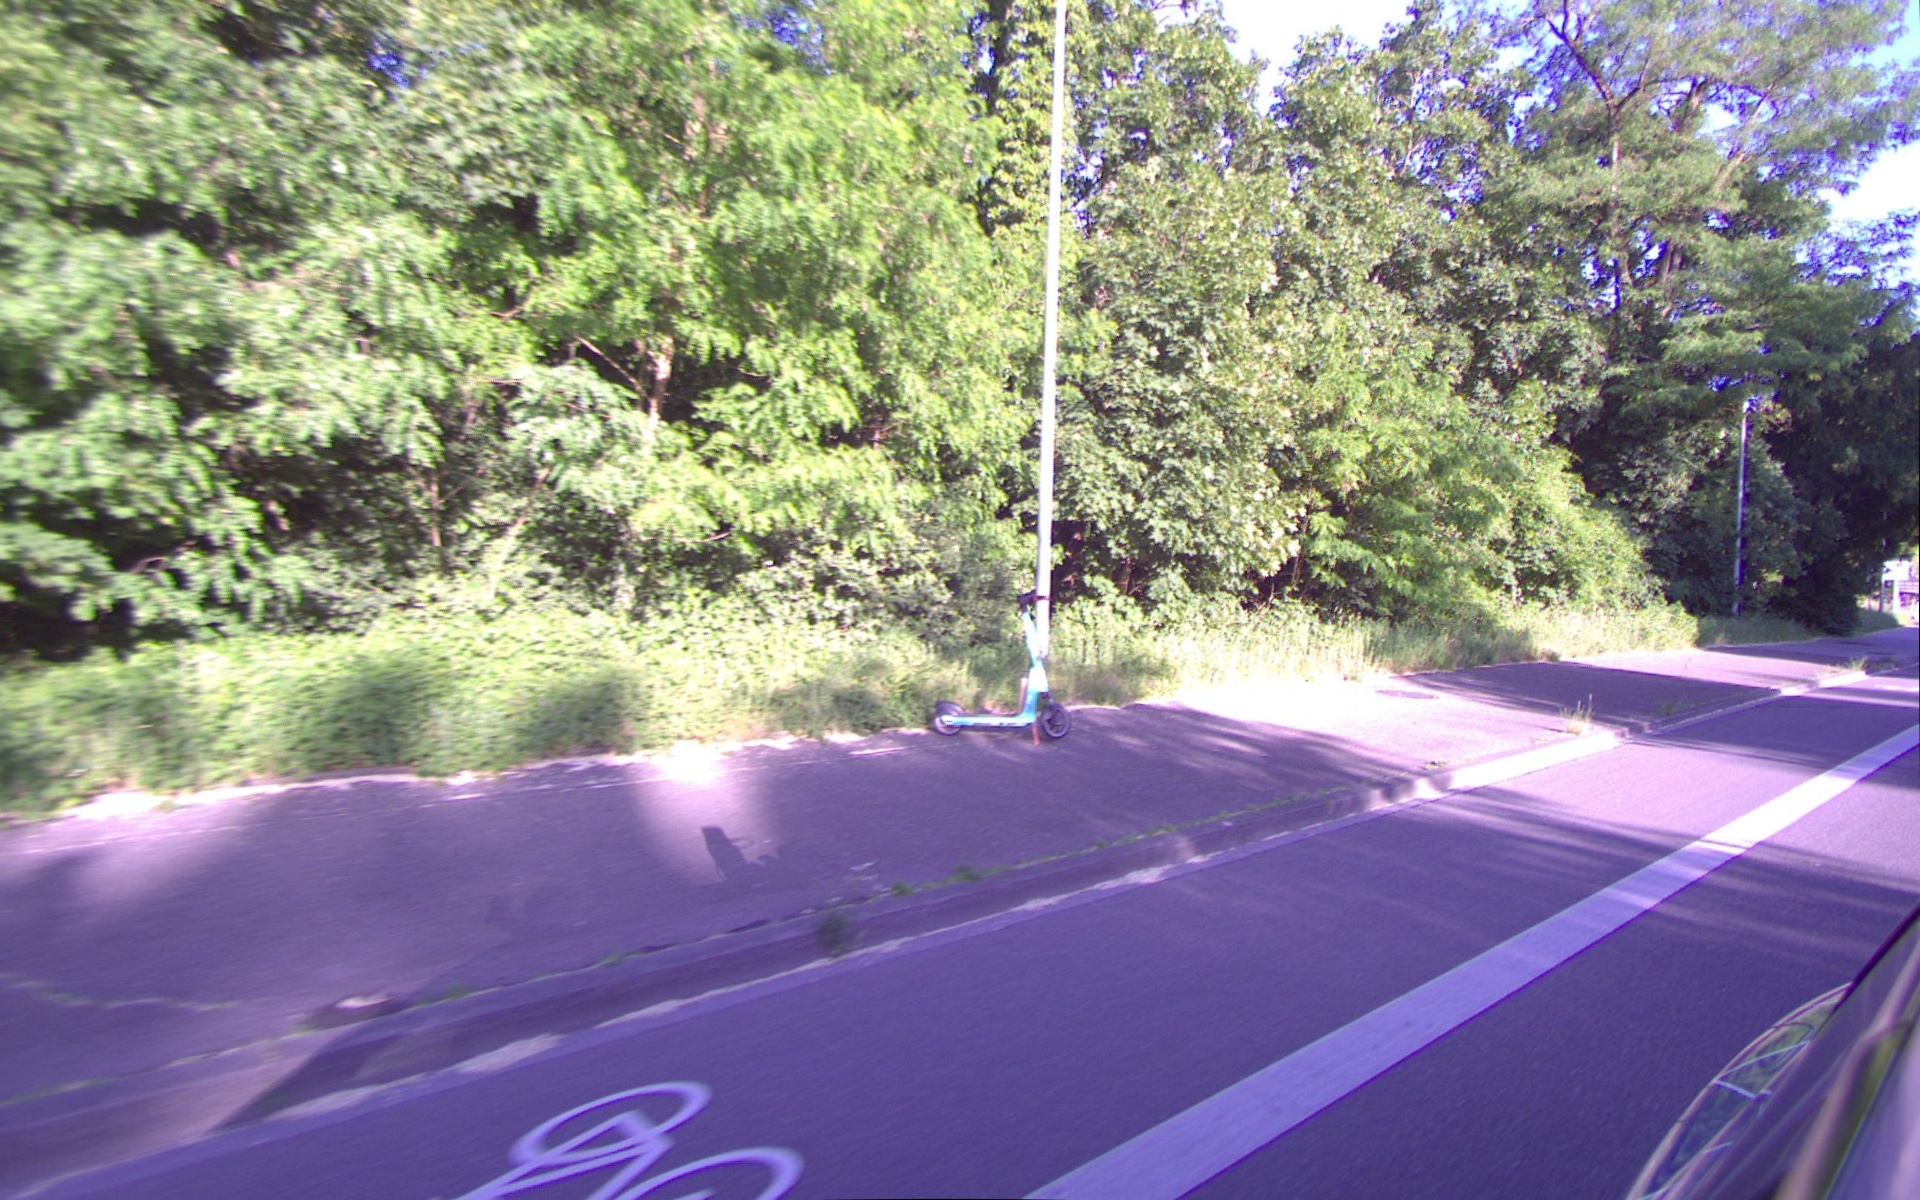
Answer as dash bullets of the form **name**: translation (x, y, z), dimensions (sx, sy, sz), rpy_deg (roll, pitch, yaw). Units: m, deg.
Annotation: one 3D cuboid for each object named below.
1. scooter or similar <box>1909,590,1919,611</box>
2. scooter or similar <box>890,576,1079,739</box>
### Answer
- **scooter or similar**: translation (60.548, 0.051, 63.616), dimensions (1.300, 1.263, 0.726), rpy_deg (1, 1, -17)
- **scooter or similar**: translation (0.217, 0.458, 8.490), dimensions (1.515, 1.265, 0.534), rpy_deg (2, 1, 7)
